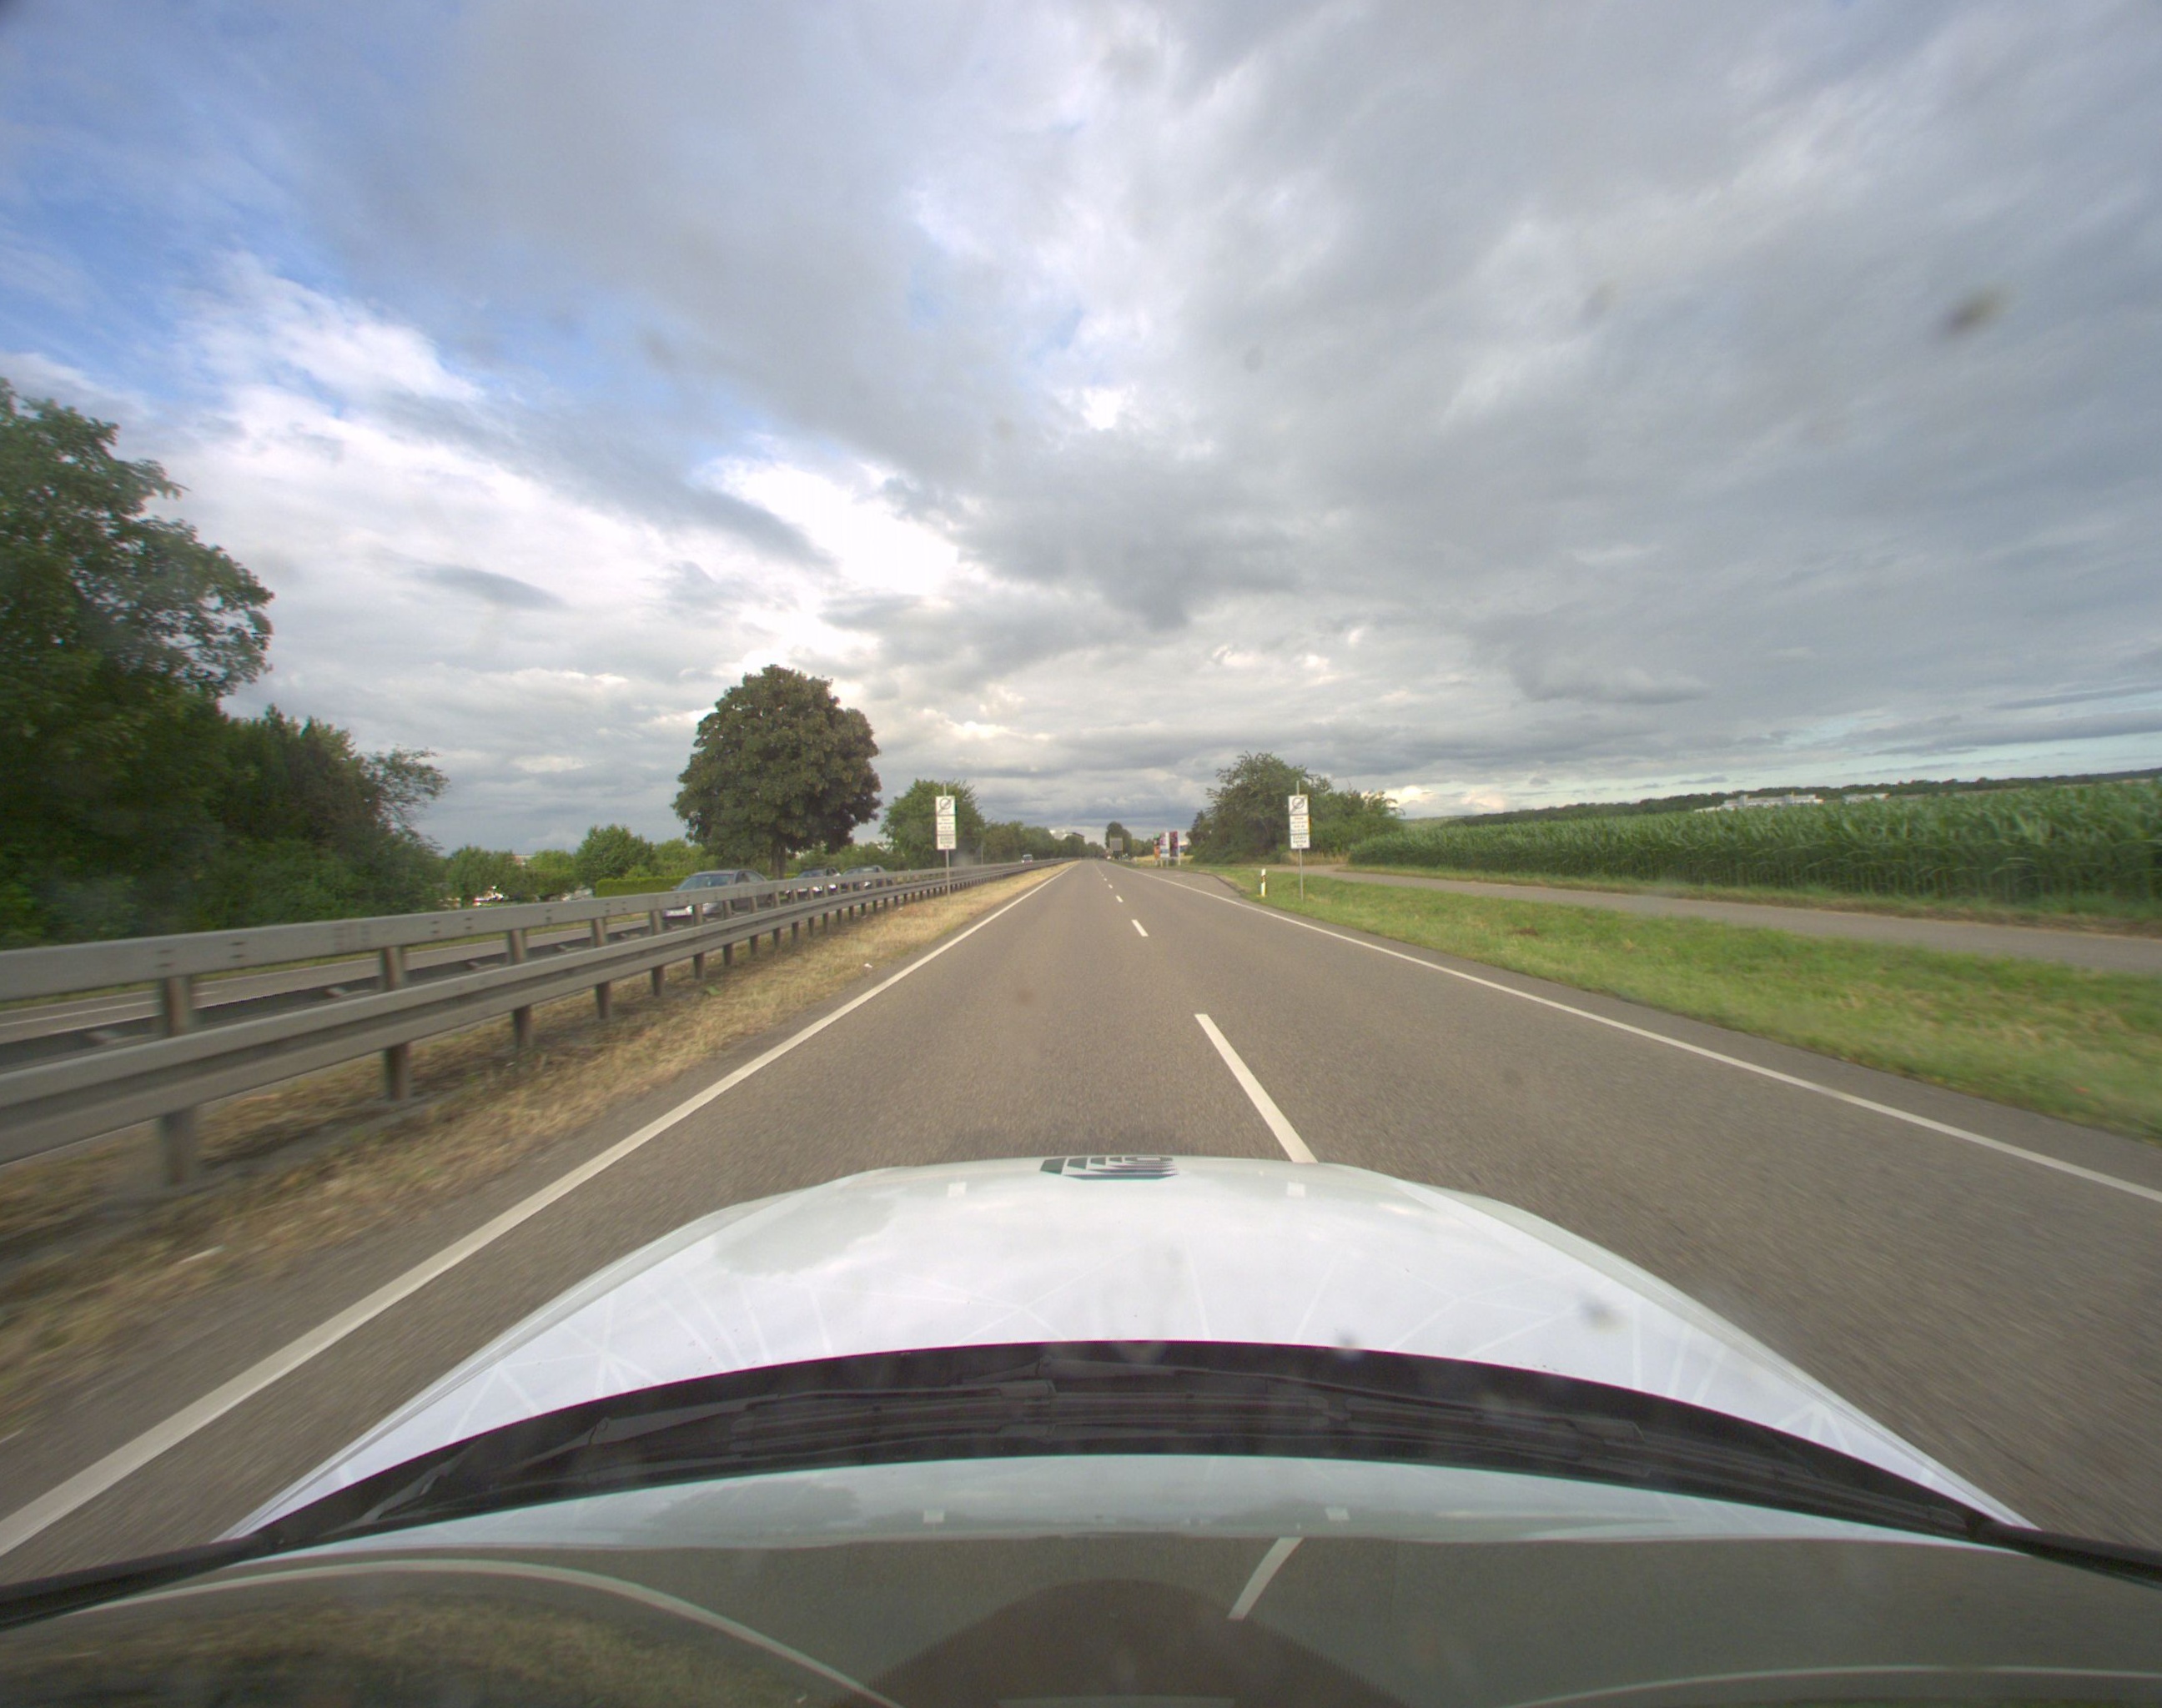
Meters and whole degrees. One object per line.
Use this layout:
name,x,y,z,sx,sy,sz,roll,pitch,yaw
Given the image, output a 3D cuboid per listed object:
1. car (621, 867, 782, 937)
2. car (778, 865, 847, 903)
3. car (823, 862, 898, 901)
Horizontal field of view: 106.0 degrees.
car,-9.728,1.153,21.389,1.860,1.477,4.825,-3,0,0
car,-12.801,1.394,39.130,1.860,1.564,4.151,-3,0,0
car,-9.574,1.157,35.719,1.860,1.477,4.935,-3,0,0
